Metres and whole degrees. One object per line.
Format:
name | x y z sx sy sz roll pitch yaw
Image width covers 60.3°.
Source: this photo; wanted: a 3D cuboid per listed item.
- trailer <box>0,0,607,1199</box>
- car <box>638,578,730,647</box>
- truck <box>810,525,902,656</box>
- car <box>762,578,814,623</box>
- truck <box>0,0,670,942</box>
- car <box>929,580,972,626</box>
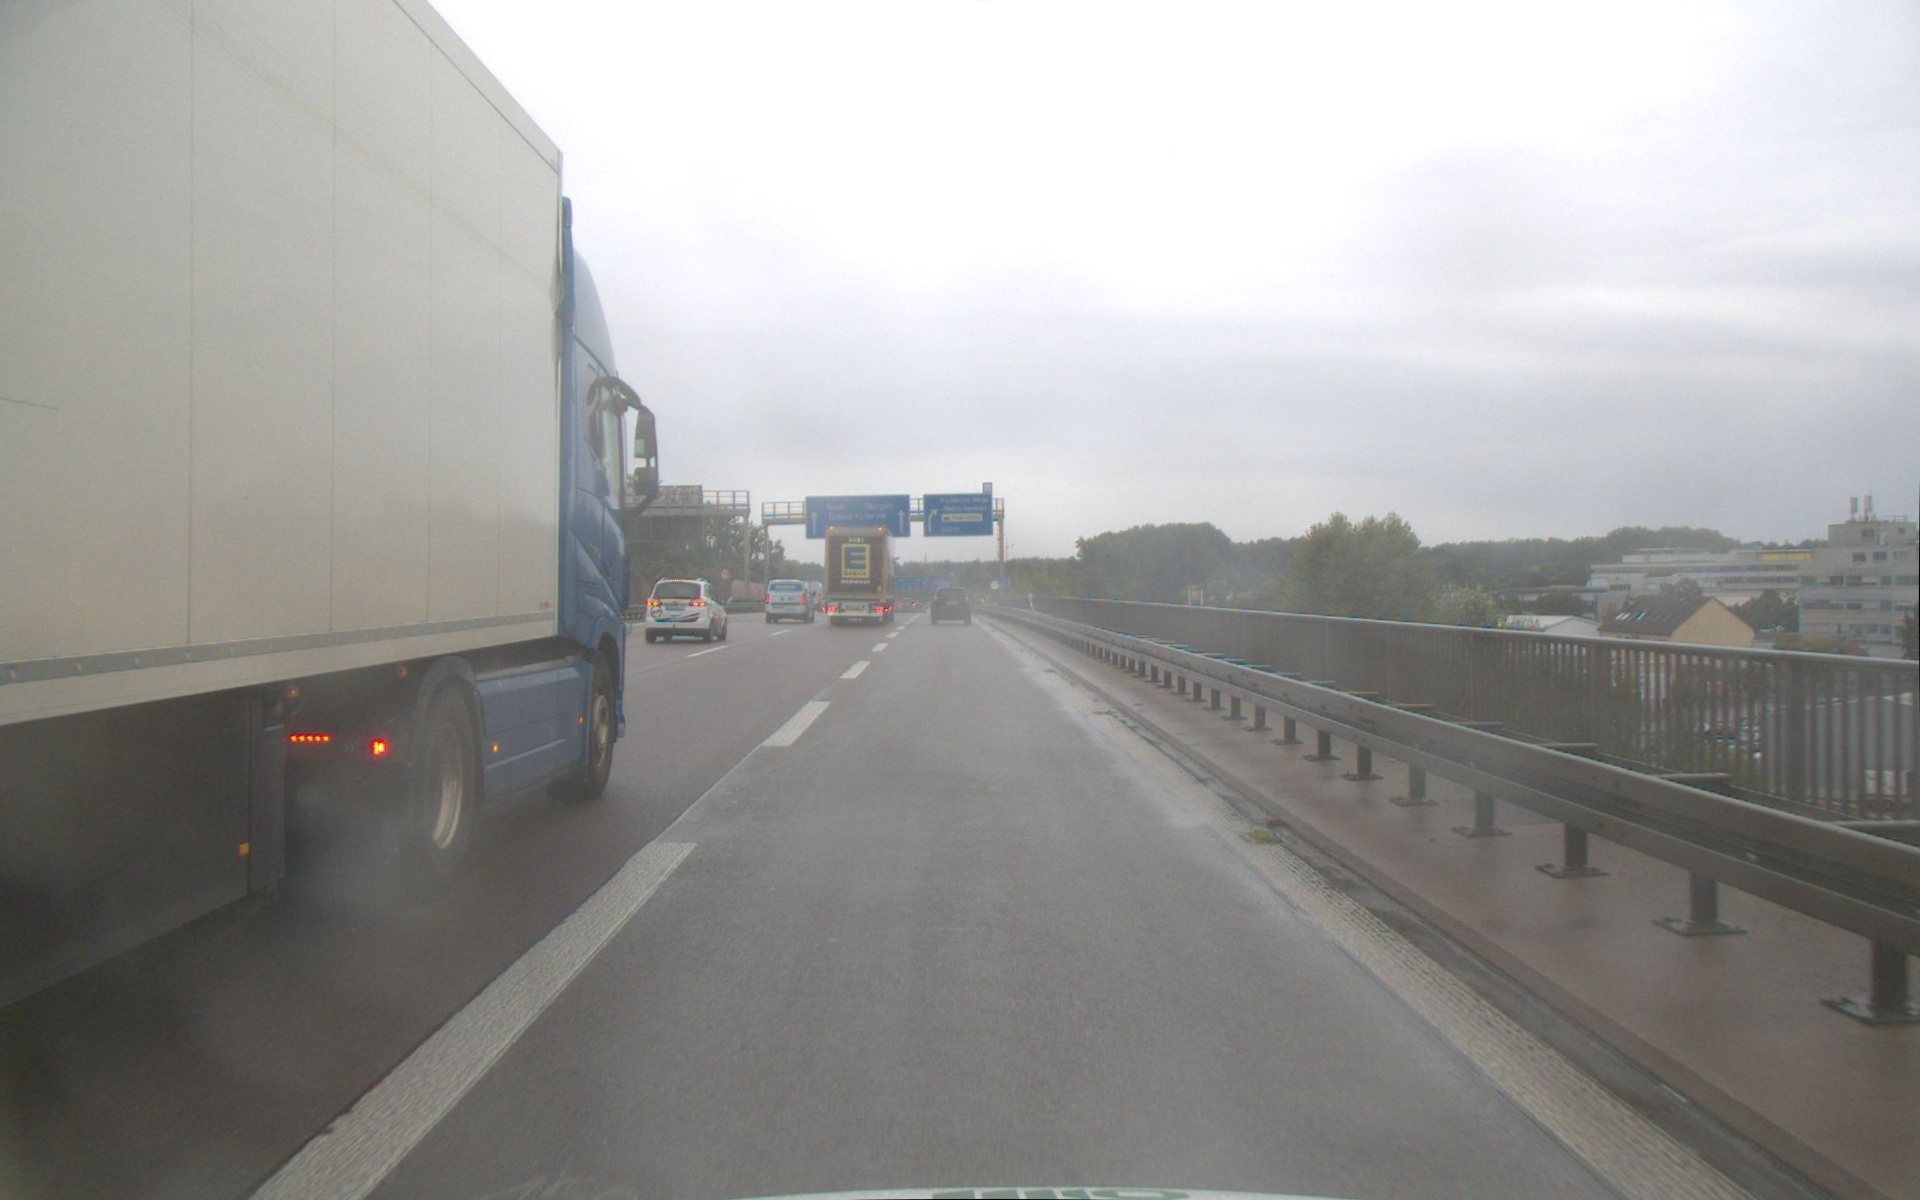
trailer | -3.379 -0.634 3.325 2.295 4.230 14.824 1 0 -1
car | -7.486 0.338 45.187 1.855 1.754 3.999 1 0 -1
truck | -4.413 -0.360 72.414 3.462 5.274 9.890 1 0 -1
car | -7.912 0.033 76.417 2.007 1.983 3.999 1 0 -1
truck | -3.486 -0.702 10.196 2.295 4.230 6.345 1 0 -1
car | -0.412 0.157 75.312 1.858 1.983 4.000 1 0 0
